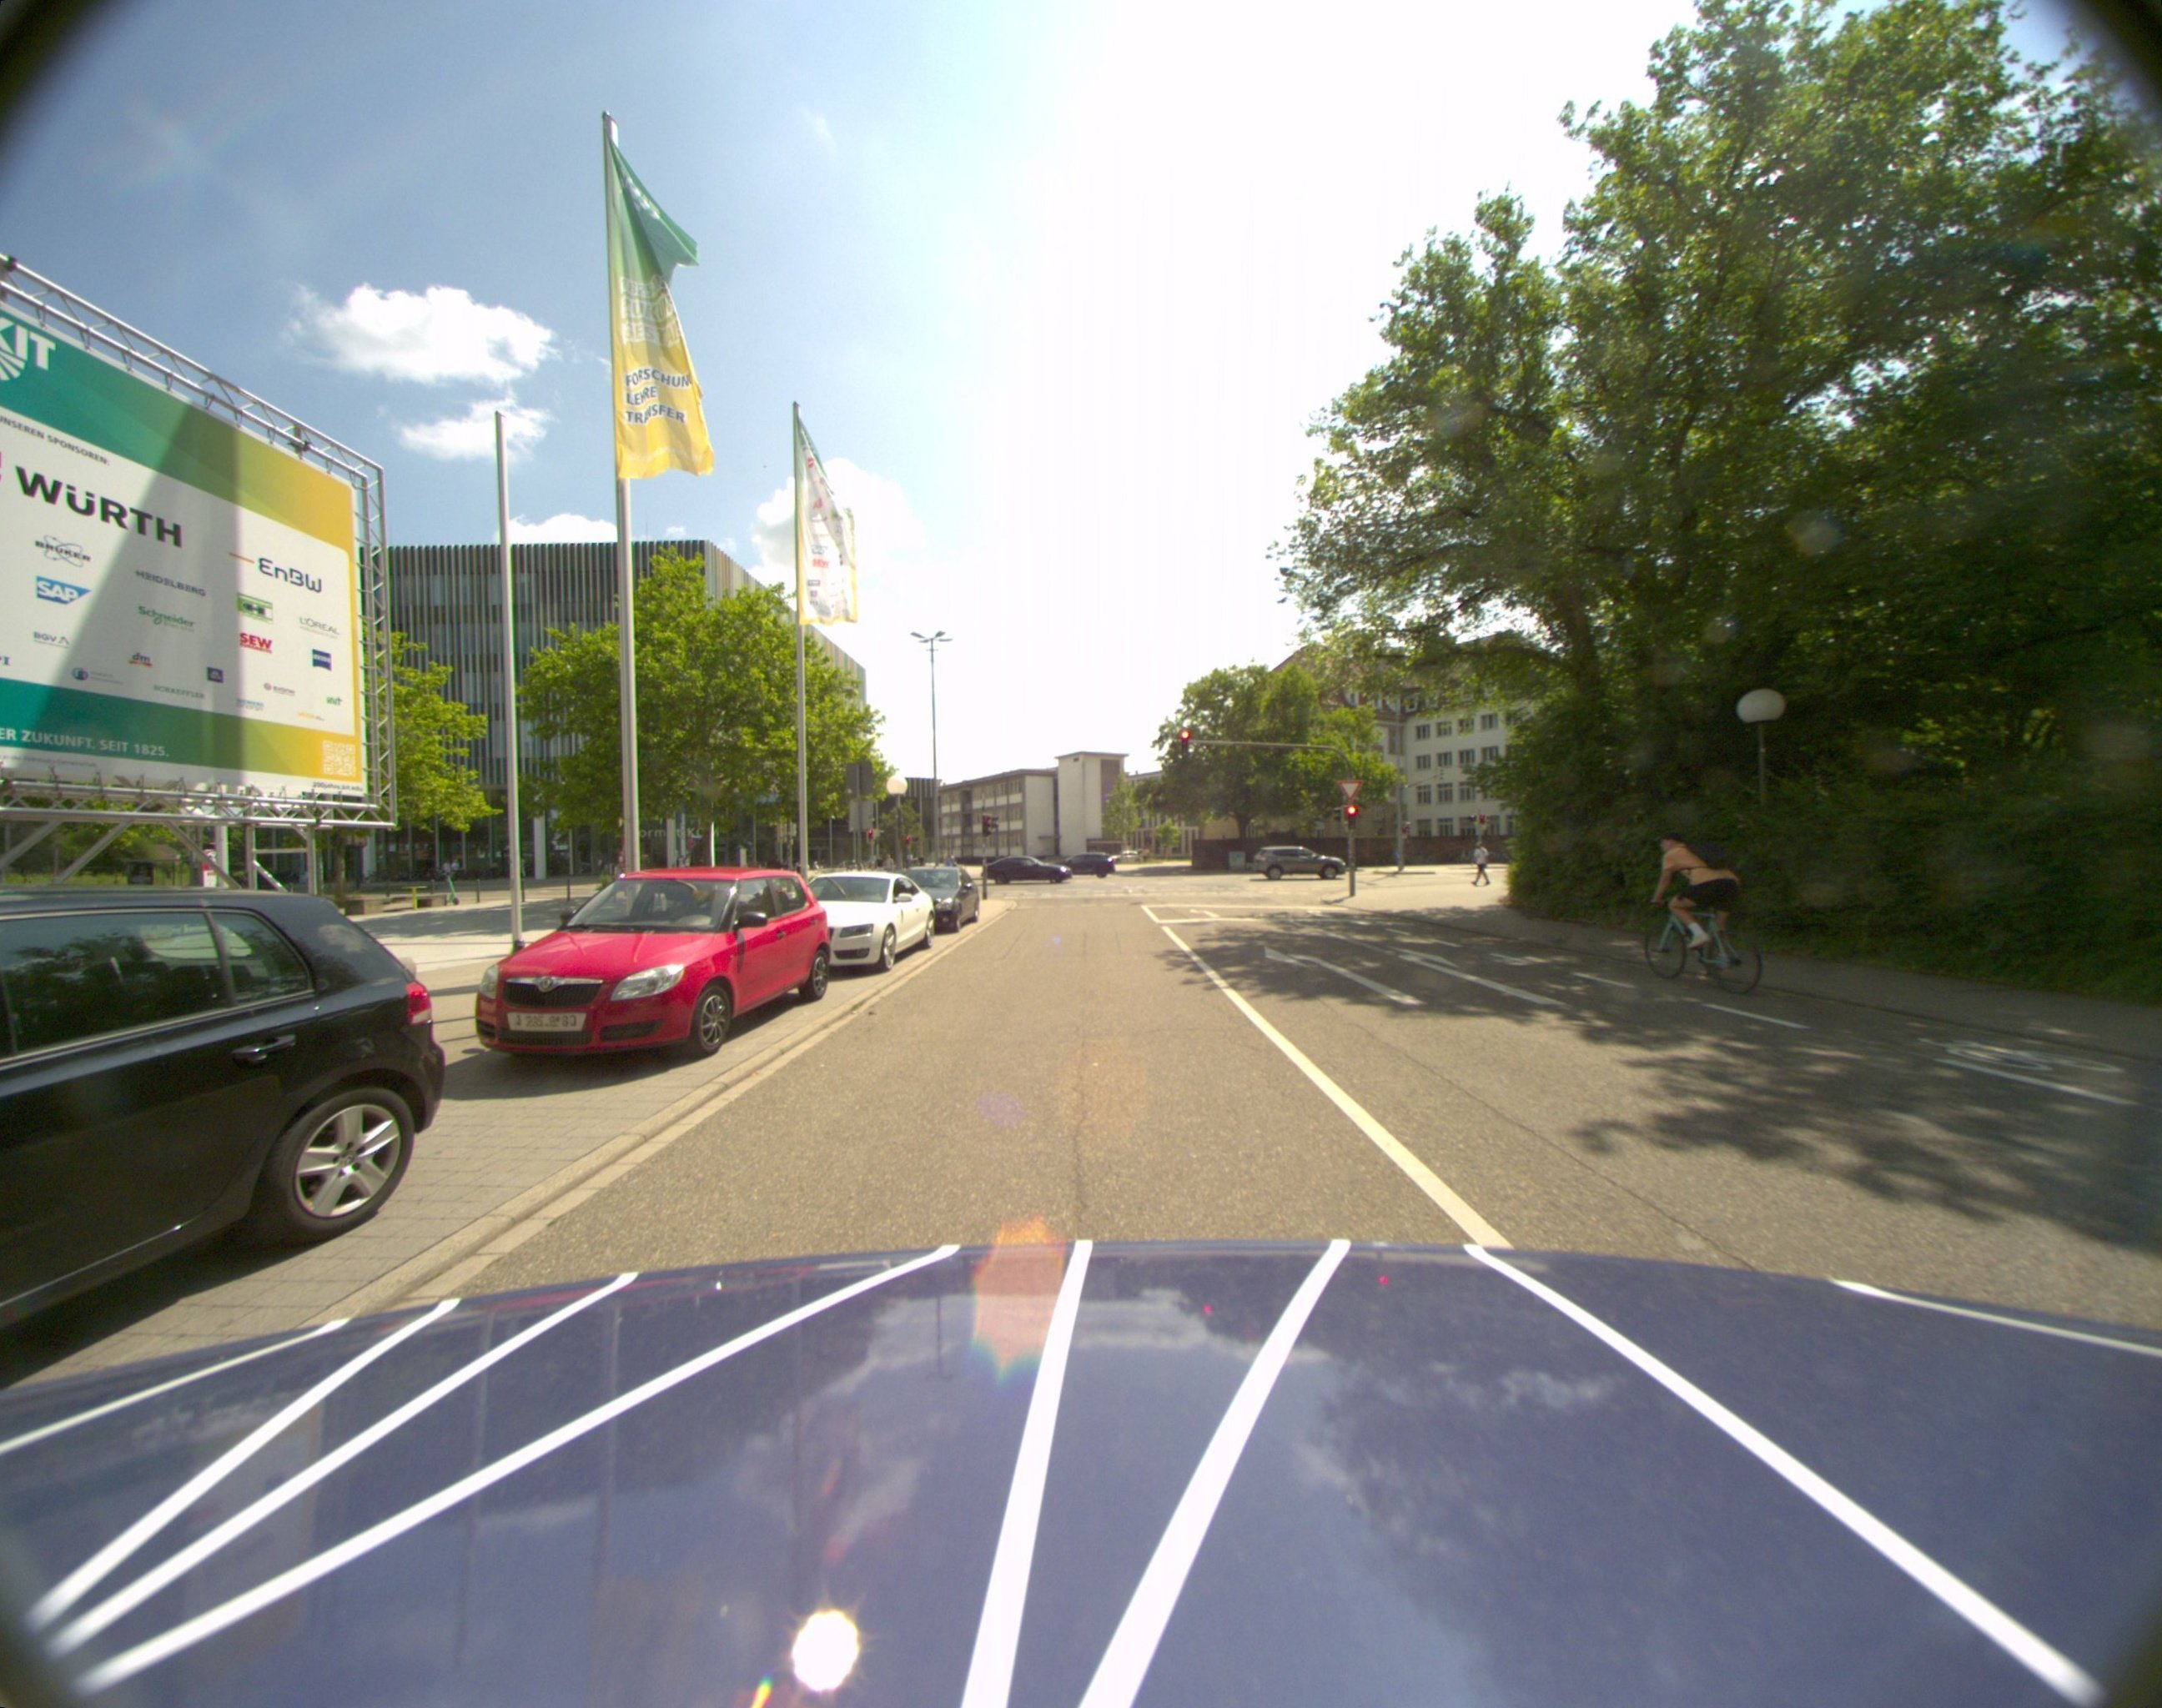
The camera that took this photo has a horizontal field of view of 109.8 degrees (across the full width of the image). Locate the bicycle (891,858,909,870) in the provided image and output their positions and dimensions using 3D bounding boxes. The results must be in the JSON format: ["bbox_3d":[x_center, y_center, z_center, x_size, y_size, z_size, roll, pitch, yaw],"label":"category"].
[{"bbox_3d":[-15.289,0.850,64.083,1.768,0.950,0.530,0,2,39],"label":"bicycle"}]

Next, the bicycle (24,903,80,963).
[{"bbox_3d":[-21.430,1.613,15.849,1.583,1.131,0.609,-1,-1,39],"label":"bicycle"}]

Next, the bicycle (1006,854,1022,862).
[{"bbox_3d":[-8.061,0.455,91.437,1.776,0.950,0.528,-1,3,-27],"label":"bicycle"}]

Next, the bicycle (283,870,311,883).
[{"bbox_3d":[-66.412,1.879,64.356,0.433,0.950,1.784,-1,2,1],"label":"bicycle"}]

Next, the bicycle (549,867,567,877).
[{"bbox_3d":[-44.512,1.520,64.669,0.373,0.771,1.546,-1,2,4],"label":"bicycle"}]

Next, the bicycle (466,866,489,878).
[{"bbox_3d":[-51.037,1.495,64.300,0.373,0.950,1.548,0,2,16],"label":"bicycle"}]

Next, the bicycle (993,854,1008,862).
[{"bbox_3d":[-10.057,0.507,94.453,1.776,0.950,0.528,-1,3,-27],"label":"bicycle"}]

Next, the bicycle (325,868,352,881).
[{"bbox_3d":[-62.924,1.731,64.427,0.433,0.950,1.784,-1,2,1],"label":"bicycle"}]

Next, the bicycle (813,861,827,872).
[{"bbox_3d":[-23.593,1.152,68.634,0.530,0.950,1.768,-2,3,-42],"label":"bicycle"}]

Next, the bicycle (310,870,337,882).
[{"bbox_3d":[-64.128,1.862,64.369,0.433,0.950,1.784,-1,2,1],"label":"bicycle"}]

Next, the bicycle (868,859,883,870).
[{"bbox_3d":[-19.295,1.004,71.442,1.768,0.950,0.530,0,2,45],"label":"bicycle"}]

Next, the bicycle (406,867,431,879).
[{"bbox_3d":[-55.960,1.587,64.199,0.373,0.950,1.548,0,2,16],"label":"bicycle"}]

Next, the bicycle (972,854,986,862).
[{"bbox_3d":[-13.193,0.494,98.234,1.776,0.950,0.528,-1,3,-27],"label":"bicycle"}]

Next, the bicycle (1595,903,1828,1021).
[{"bbox_3d":[6.941,1.131,8.573,0.795,0.983,2.209,-1,1,0],"label":"bicycle"}]

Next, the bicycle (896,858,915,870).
[{"bbox_3d":[-14.911,0.839,64.545,1.768,0.950,0.530,0,2,39],"label":"bicycle"}]

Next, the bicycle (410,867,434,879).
[{"bbox_3d":[-55.448,1.575,63.975,0.373,0.950,1.548,0,2,16],"label":"bicycle"}]

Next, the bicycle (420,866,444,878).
[{"bbox_3d":[-54.580,1.510,63.917,0.373,0.950,1.548,0,2,16],"label":"bicycle"}]

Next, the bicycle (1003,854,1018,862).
[{"bbox_3d":[-8.569,0.479,92.284,1.776,0.950,0.528,-1,3,-27],"label":"bicycle"}]

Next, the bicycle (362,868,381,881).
[{"bbox_3d":[-59.075,1.719,63.285,0.373,0.950,1.544,-1,2,-10],"label":"bicycle"}]

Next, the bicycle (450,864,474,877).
[{"bbox_3d":[-52.231,1.396,64.132,0.373,0.950,1.548,0,2,16],"label":"bicycle"}]

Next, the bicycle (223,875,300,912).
[{"bbox_3d":[-27.896,1.330,25.877,2.028,1.176,0.800,0,2,12],"label":"bicycle"}]

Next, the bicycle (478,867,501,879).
[{"bbox_3d":[-49.808,1.610,64.017,0.373,0.950,1.548,0,2,16],"label":"bicycle"}]

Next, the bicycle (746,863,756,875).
[{"bbox_3d":[-28.236,1.285,65.028,0.374,0.950,1.542,-2,2,-38],"label":"bicycle"}]

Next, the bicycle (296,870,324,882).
[{"bbox_3d":[-65.378,1.854,64.434,0.433,0.950,1.784,-1,2,1],"label":"bicycle"}]

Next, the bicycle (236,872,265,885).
[{"bbox_3d":[-70.370,2.094,64.402,0.433,0.950,1.784,-1,2,1],"label":"bicycle"}]

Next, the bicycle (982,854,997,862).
[{"bbox_3d":[-11.632,0.525,96.245,1.776,0.950,0.528,-1,3,-27],"label":"bicycle"}]

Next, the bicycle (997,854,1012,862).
[{"bbox_3d":[-9.364,0.498,93.331,1.776,0.950,0.528,-1,3,-27],"label":"bicycle"}]

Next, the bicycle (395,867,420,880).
[{"bbox_3d":[-56.996,1.634,64.327,0.373,0.950,1.548,0,2,16],"label":"bicycle"}]

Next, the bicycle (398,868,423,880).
[{"bbox_3d":[-56.610,1.679,64.147,0.373,0.950,1.548,0,2,16],"label":"bicycle"}]

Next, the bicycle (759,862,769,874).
[{"bbox_3d":[-27.610,1.214,66.170,0.374,0.950,1.768,-2,2,-38],"label":"bicycle"}]

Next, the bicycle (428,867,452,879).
[{"bbox_3d":[-53.647,1.577,63.618,0.373,0.950,1.548,0,2,16],"label":"bicycle"}]

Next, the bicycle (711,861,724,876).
[{"bbox_3d":[-30.456,1.216,63.635,0.373,1.180,1.546,0,2,-1],"label":"bicycle"}]

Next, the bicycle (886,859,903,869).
[{"bbox_3d":[-17.860,0.962,72.772,1.768,0.950,0.530,0,2,39],"label":"bicycle"}]

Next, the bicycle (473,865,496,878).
[{"bbox_3d":[-50.329,1.468,64.155,0.373,0.950,1.548,0,2,16],"label":"bicycle"}]

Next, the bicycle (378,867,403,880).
[{"bbox_3d":[-58.267,1.639,64.150,0.373,0.950,1.548,0,2,16],"label":"bicycle"}]

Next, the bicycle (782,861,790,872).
[{"bbox_3d":[-26.030,1.082,67.045,0.529,0.950,1.770,-1,1,-19],"label":"bicycle"}]

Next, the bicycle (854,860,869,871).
[{"bbox_3d":[-20.398,1.066,70.723,1.768,0.950,0.530,0,2,45],"label":"bicycle"}]

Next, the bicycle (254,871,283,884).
[{"bbox_3d":[-68.870,1.977,64.426,0.433,0.950,1.784,-1,2,1],"label":"bicycle"}]

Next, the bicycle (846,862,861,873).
[{"bbox_3d":[-21.086,1.215,70.293,1.768,0.950,0.530,0,2,45],"label":"bicycle"}]

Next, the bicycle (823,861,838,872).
[{"bbox_3d":[-22.868,1.119,69.285,0.530,0.950,1.768,-6,5,-42],"label":"bicycle"}]

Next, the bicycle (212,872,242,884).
[{"bbox_3d":[-72.389,2.023,64.426,0.433,0.950,1.784,-1,2,1],"label":"bicycle"}]
